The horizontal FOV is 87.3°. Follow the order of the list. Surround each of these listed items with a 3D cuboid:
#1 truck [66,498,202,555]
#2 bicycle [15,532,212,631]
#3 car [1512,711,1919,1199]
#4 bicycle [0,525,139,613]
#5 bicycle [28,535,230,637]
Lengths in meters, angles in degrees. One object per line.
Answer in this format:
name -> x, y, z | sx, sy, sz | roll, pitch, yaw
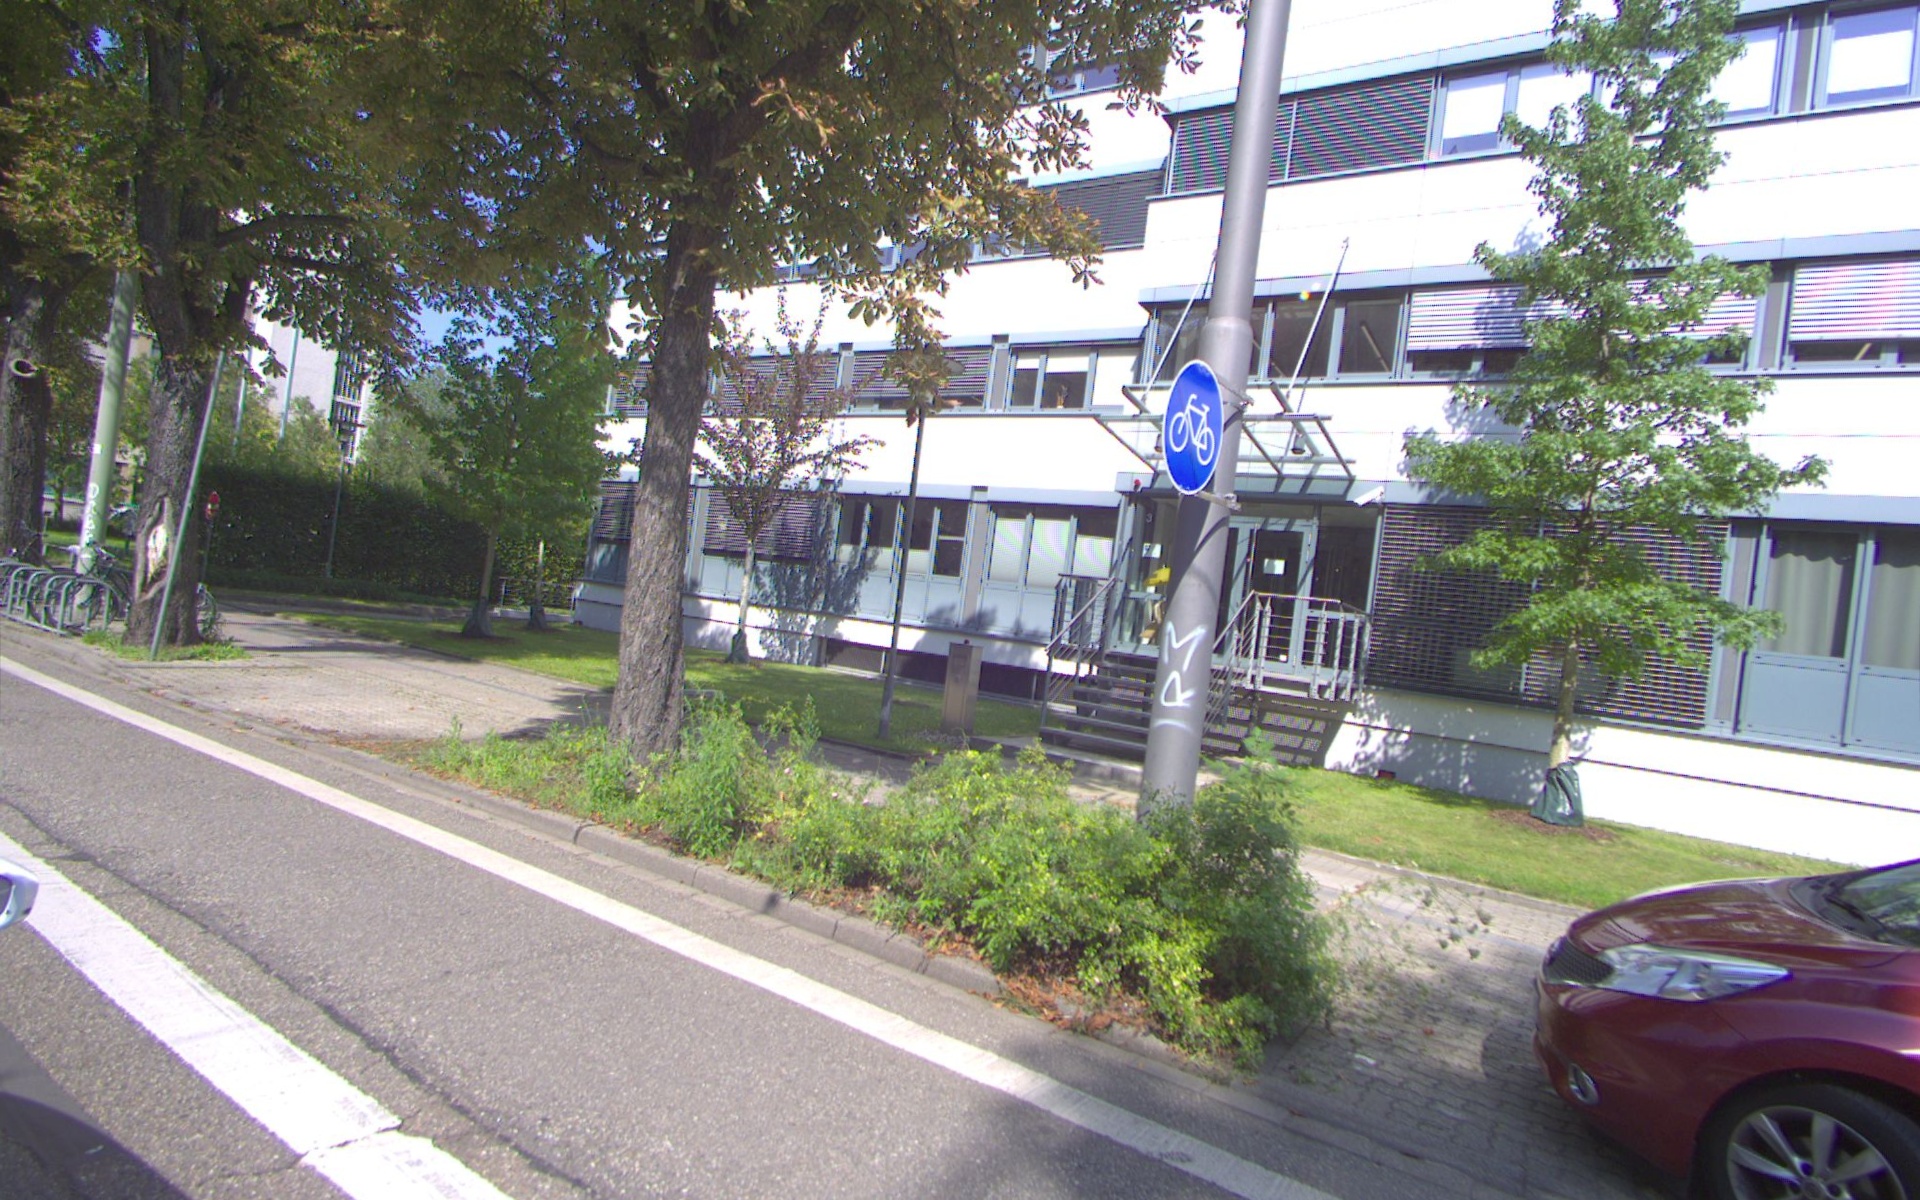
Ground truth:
truck -> -48.051, -4.244, 58.660 | 2.262, 2.353, 5.514 | 7, -2, 34
bicycle -> -10.747, -0.204, 12.837 | 0.532, 1.062, 1.773 | 7, 0, 31
car -> 4.059, 1.386, 2.799 | 4.205, 1.479, 1.758 | 7, -1, 33
bicycle -> -12.791, -0.437, 14.147 | 0.532, 1.062, 1.773 | 7, 0, 31
bicycle -> -10.214, -0.145, 12.438 | 0.532, 1.062, 1.773 | 7, 0, 31
